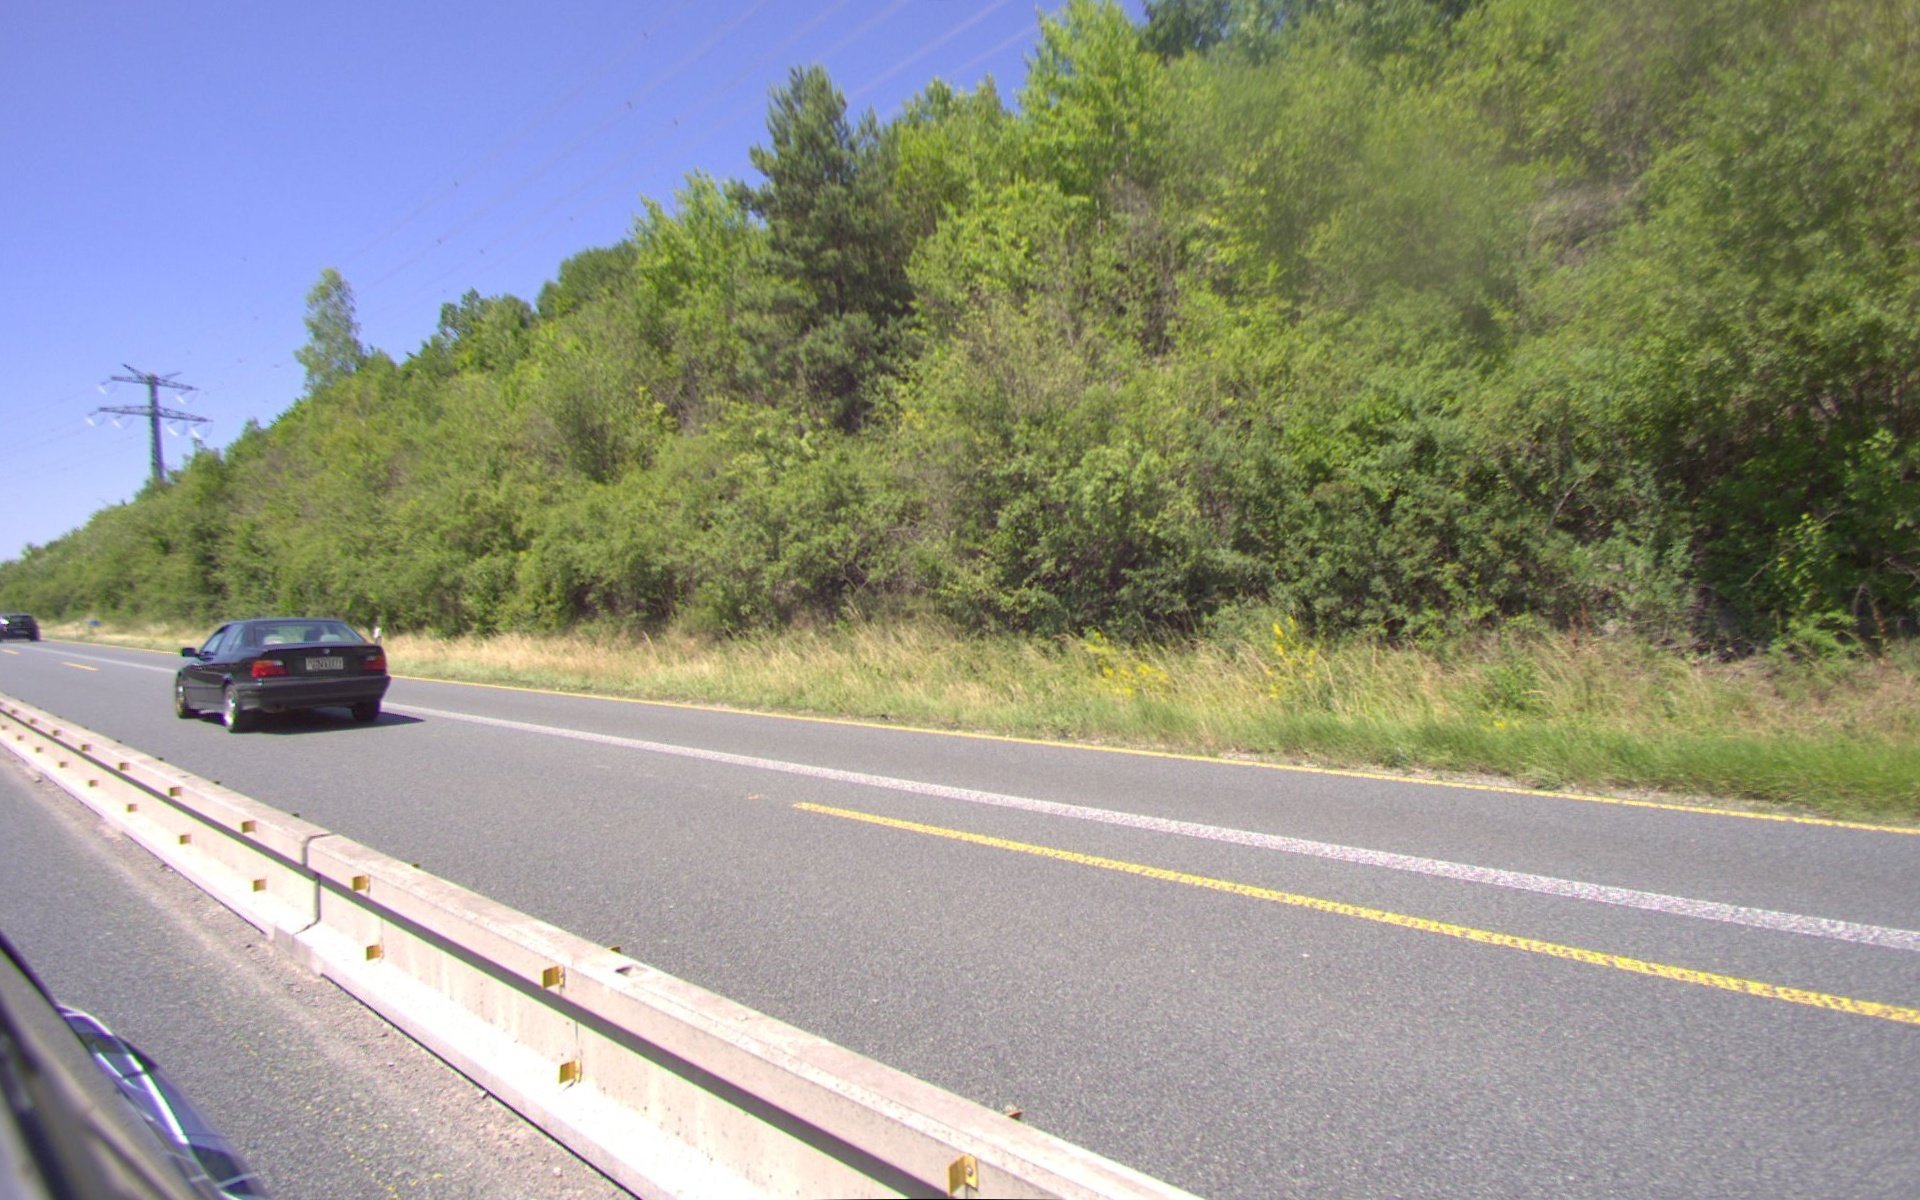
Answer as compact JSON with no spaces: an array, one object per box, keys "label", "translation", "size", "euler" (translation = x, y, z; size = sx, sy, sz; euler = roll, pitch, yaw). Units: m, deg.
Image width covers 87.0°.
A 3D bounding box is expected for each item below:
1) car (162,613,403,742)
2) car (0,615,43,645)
[{"label":"car","translation":[-9.047,0.901,13.390],"size":[4.069,1.404,1.656],"euler":[-1,0,41]},{"label":"car","translation":[-52.906,1.688,56.822],"size":[4.068,1.588,1.759],"euler":[-1,0,42]}]
